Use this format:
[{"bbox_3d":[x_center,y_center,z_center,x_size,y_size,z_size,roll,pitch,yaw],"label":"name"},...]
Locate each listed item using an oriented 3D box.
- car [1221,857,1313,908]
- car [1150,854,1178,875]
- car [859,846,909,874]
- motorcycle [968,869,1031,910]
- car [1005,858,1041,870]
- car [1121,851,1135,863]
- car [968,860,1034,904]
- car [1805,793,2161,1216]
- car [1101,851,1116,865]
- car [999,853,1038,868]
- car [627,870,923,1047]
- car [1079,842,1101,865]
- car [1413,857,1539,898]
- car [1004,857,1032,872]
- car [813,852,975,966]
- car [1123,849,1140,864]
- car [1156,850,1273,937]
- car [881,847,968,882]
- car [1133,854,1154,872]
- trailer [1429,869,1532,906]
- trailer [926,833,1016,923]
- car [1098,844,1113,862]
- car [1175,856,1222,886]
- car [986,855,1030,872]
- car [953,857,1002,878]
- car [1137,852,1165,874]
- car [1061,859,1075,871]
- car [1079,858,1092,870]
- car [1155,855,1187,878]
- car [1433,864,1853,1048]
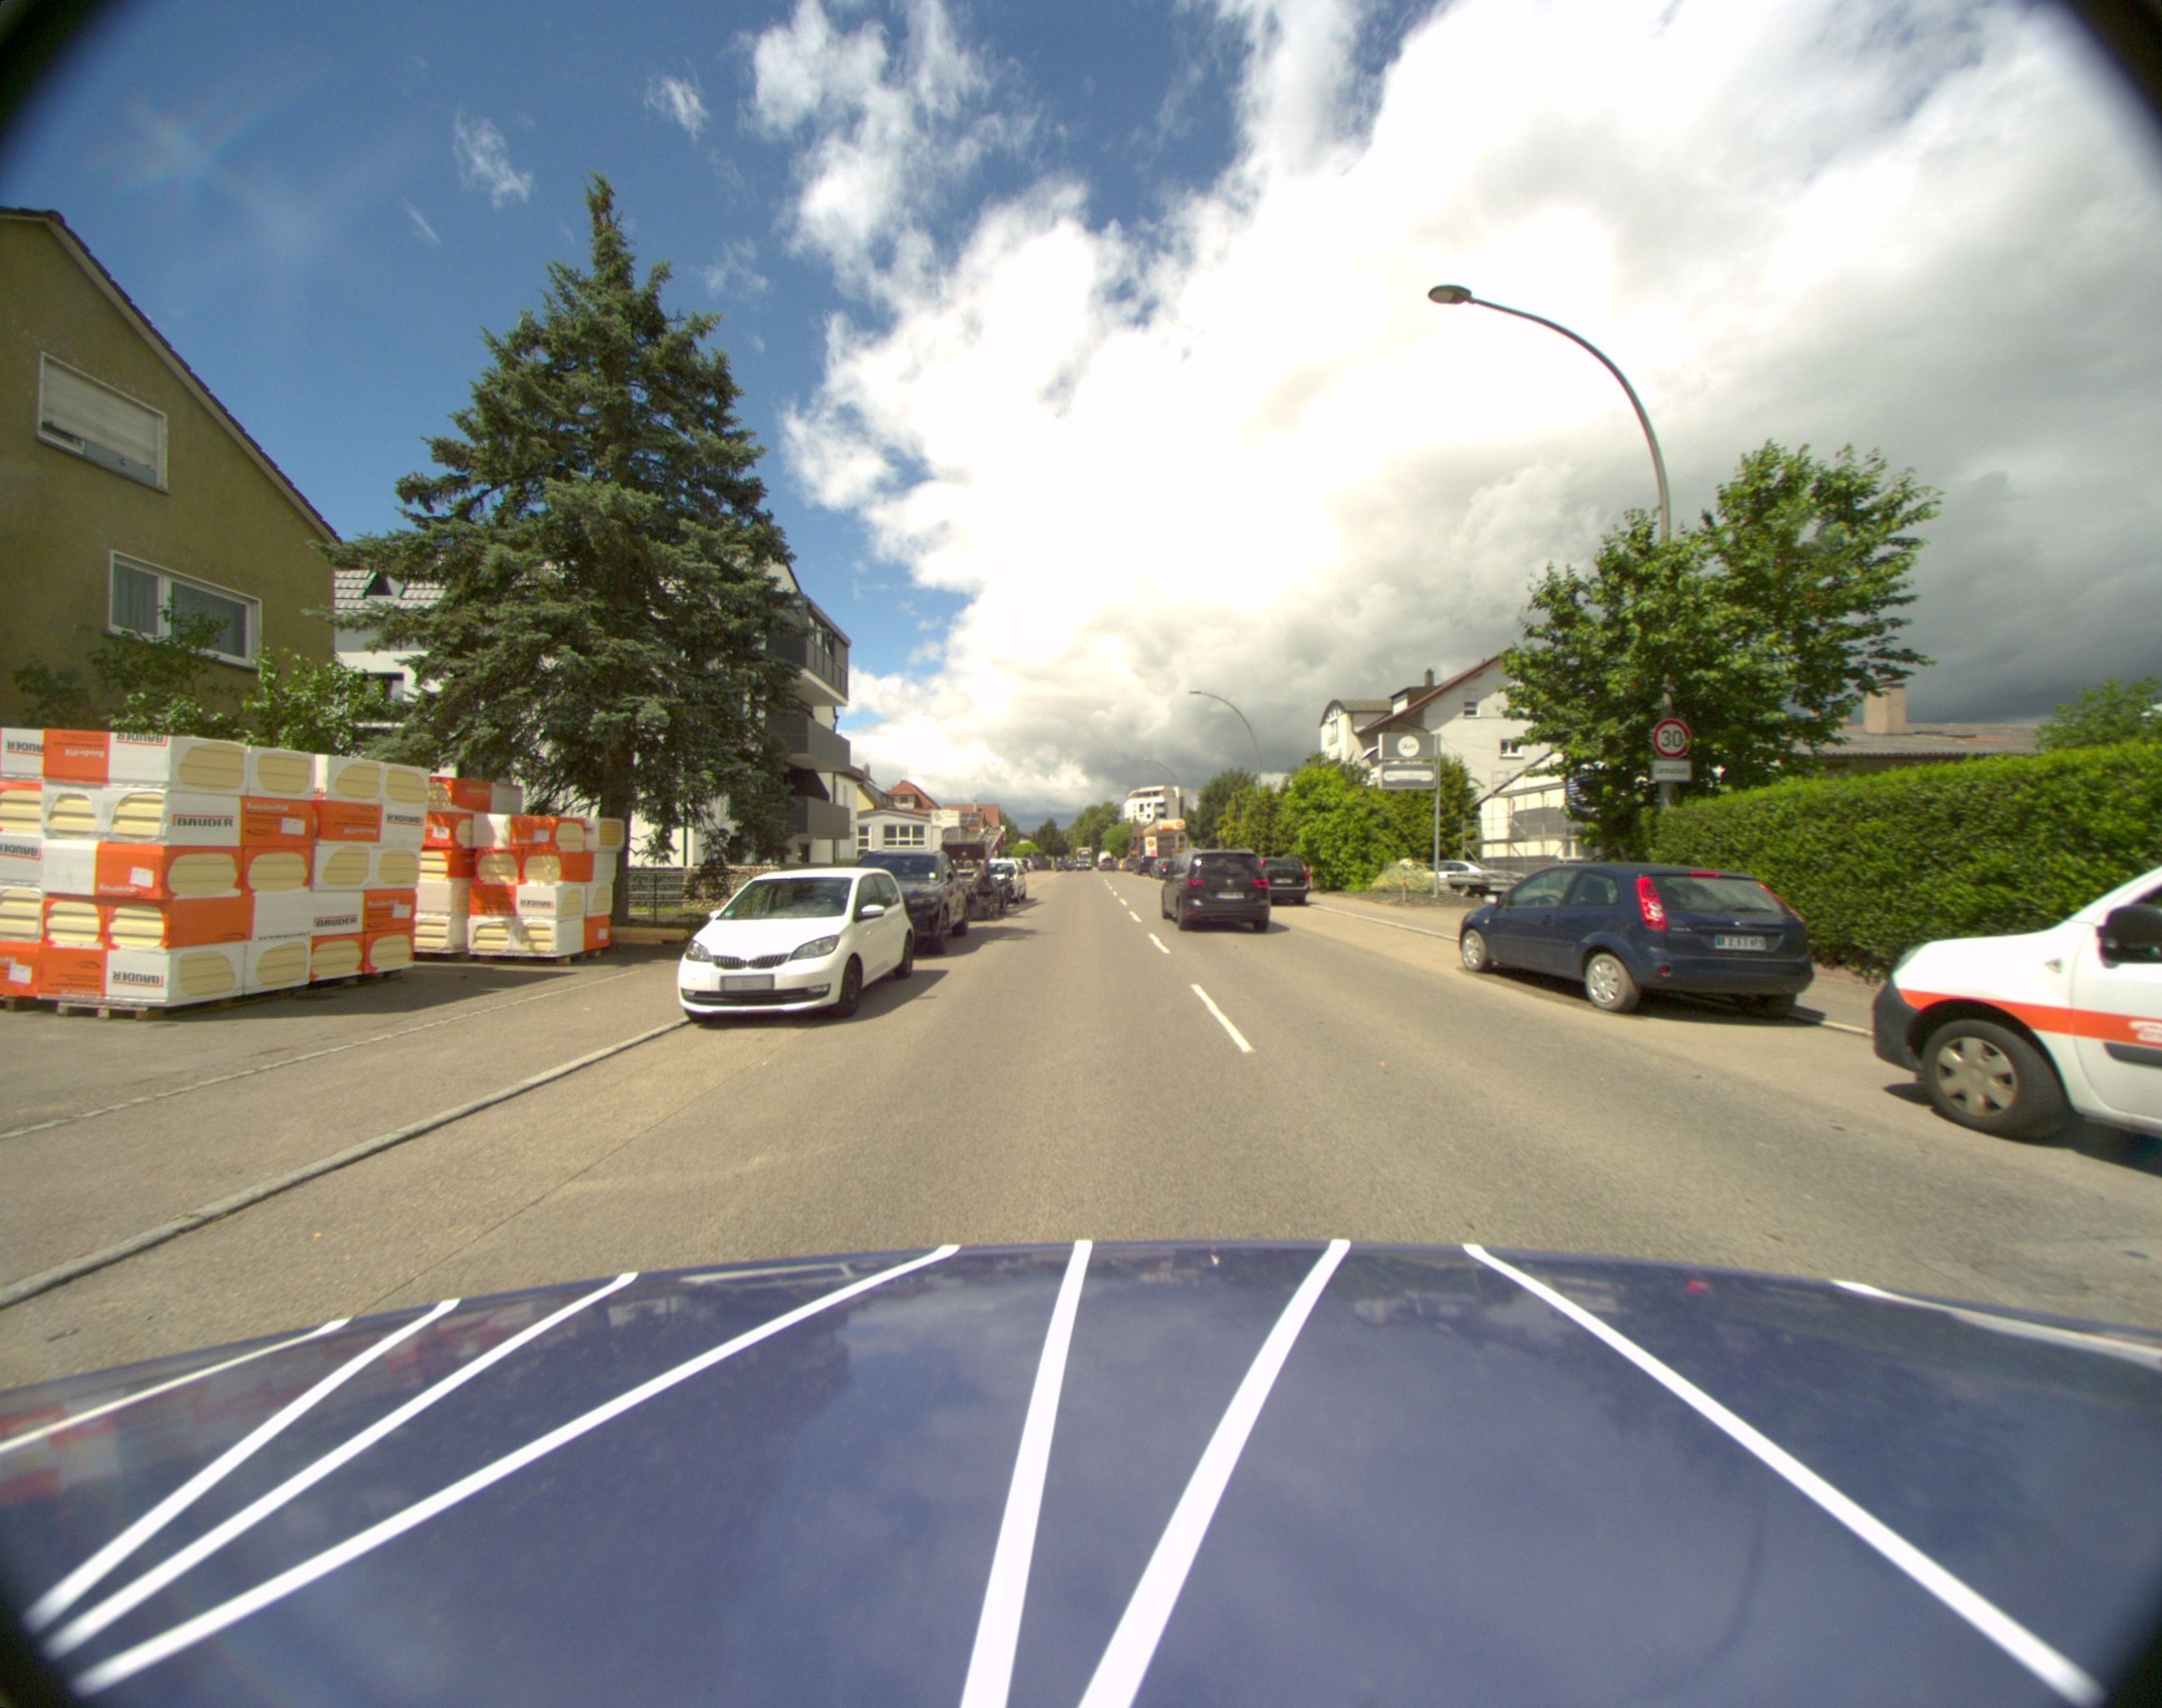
[{"bbox_3d":[5.897,0.848,24.647,1.724,1.484,4.735,1,0,-1],"label":"car"},{"bbox_3d":[6.209,0.784,57.313,1.667,1.502,3.945,2,0,0],"label":"car"},{"bbox_3d":[-11.910,0.394,46.136,1.634,1.510,3.667,3,-1,8],"label":"car"},{"bbox_3d":[-2.538,1.091,23.629,1.826,1.202,0.715,0,0,-35],"label":"motorcycle"},{"bbox_3d":[-7.396,1.244,96.740,4.419,1.399,1.974,2,0,-3],"label":"car"},{"bbox_3d":[6.516,0.396,105.620,1.666,1.505,3.945,3,0,1],"label":"car"},{"bbox_3d":[-2.740,0.927,26.933,1.723,1.423,3.984,1,0,3],"label":"car"},{"bbox_3d":[5.580,0.684,2.697,1.748,1.827,4.355,3,0,-1],"label":"car"},{"bbox_3d":[3.469,0.517,95.550,1.667,1.785,4.338,1,0,-1],"label":"car"},{"bbox_3d":[-7.314,0.761,88.970,4.419,1.516,1.974,2,0,-3],"label":"car"},{"bbox_3d":[-3.118,0.967,8.722,1.777,1.499,4.000,0,0,0],"label":"car"},{"bbox_3d":[1.505,0.000,131.585,3.263,3.595,10.269,-2,-1,-1],"label":"car"},{"bbox_3d":[15.430,0.897,29.767,3.987,1.379,1.897,2,0,40],"label":"car"},{"bbox_3d":[-7.021,1.178,84.941,2.896,1.516,1.974,2,0,-3],"label":"car"},{"bbox_3d":[-3.149,0.835,13.800,1.878,1.717,4.712,0,0,-1],"label":"car"},{"bbox_3d":[6.303,0.319,95.050,1.733,1.727,4.190,3,0,0],"label":"car"},{"bbox_3d":[2.731,0.762,16.504,1.748,1.618,4.356,-1,0,0],"label":"car"},{"bbox_3d":[-8.311,0.546,40.713,4.202,1.644,1.867,3,0,0],"label":"car"},{"bbox_3d":[6.076,0.844,74.132,1.667,1.670,4.526,1,0,0],"label":"car"},{"bbox_3d":[13.785,1.118,26.463,1.563,1.119,3.814,0,0,0],"label":"trailer"},{"bbox_3d":[-2.798,0.574,20.141,1.777,2.132,4.114,0,0,0],"label":"trailer"},{"bbox_3d":[3.789,-0.170,118.820,1.997,2.749,6.164,1,0,0],"label":"car"},{"bbox_3d":[5.855,0.819,38.271,1.667,1.406,4.338,1,0,0],"label":"car"},{"bbox_3d":[-7.728,0.983,80.651,4.419,1.599,1.974,2,0,-3],"label":"car"},{"bbox_3d":[-8.826,1.142,64.818,3.909,1.599,1.749,-2,0,-1],"label":"car"},{"bbox_3d":[6.236,0.770,68.195,1.915,1.810,5.429,3,0,0],"label":"car"},{"bbox_3d":[-1.795,1.558,106.099,1.789,1.548,4.317,-2,0,1],"label":"car"},{"bbox_3d":[0.680,1.554,113.805,1.891,1.708,4.000,1,0,0],"label":"car"},{"bbox_3d":[6.138,0.832,52.173,1.667,1.427,4.338,2,0,0],"label":"car"},{"bbox_3d":[5.760,0.909,8.526,1.644,1.478,4.000,3,0,-1],"label":"car"}]
